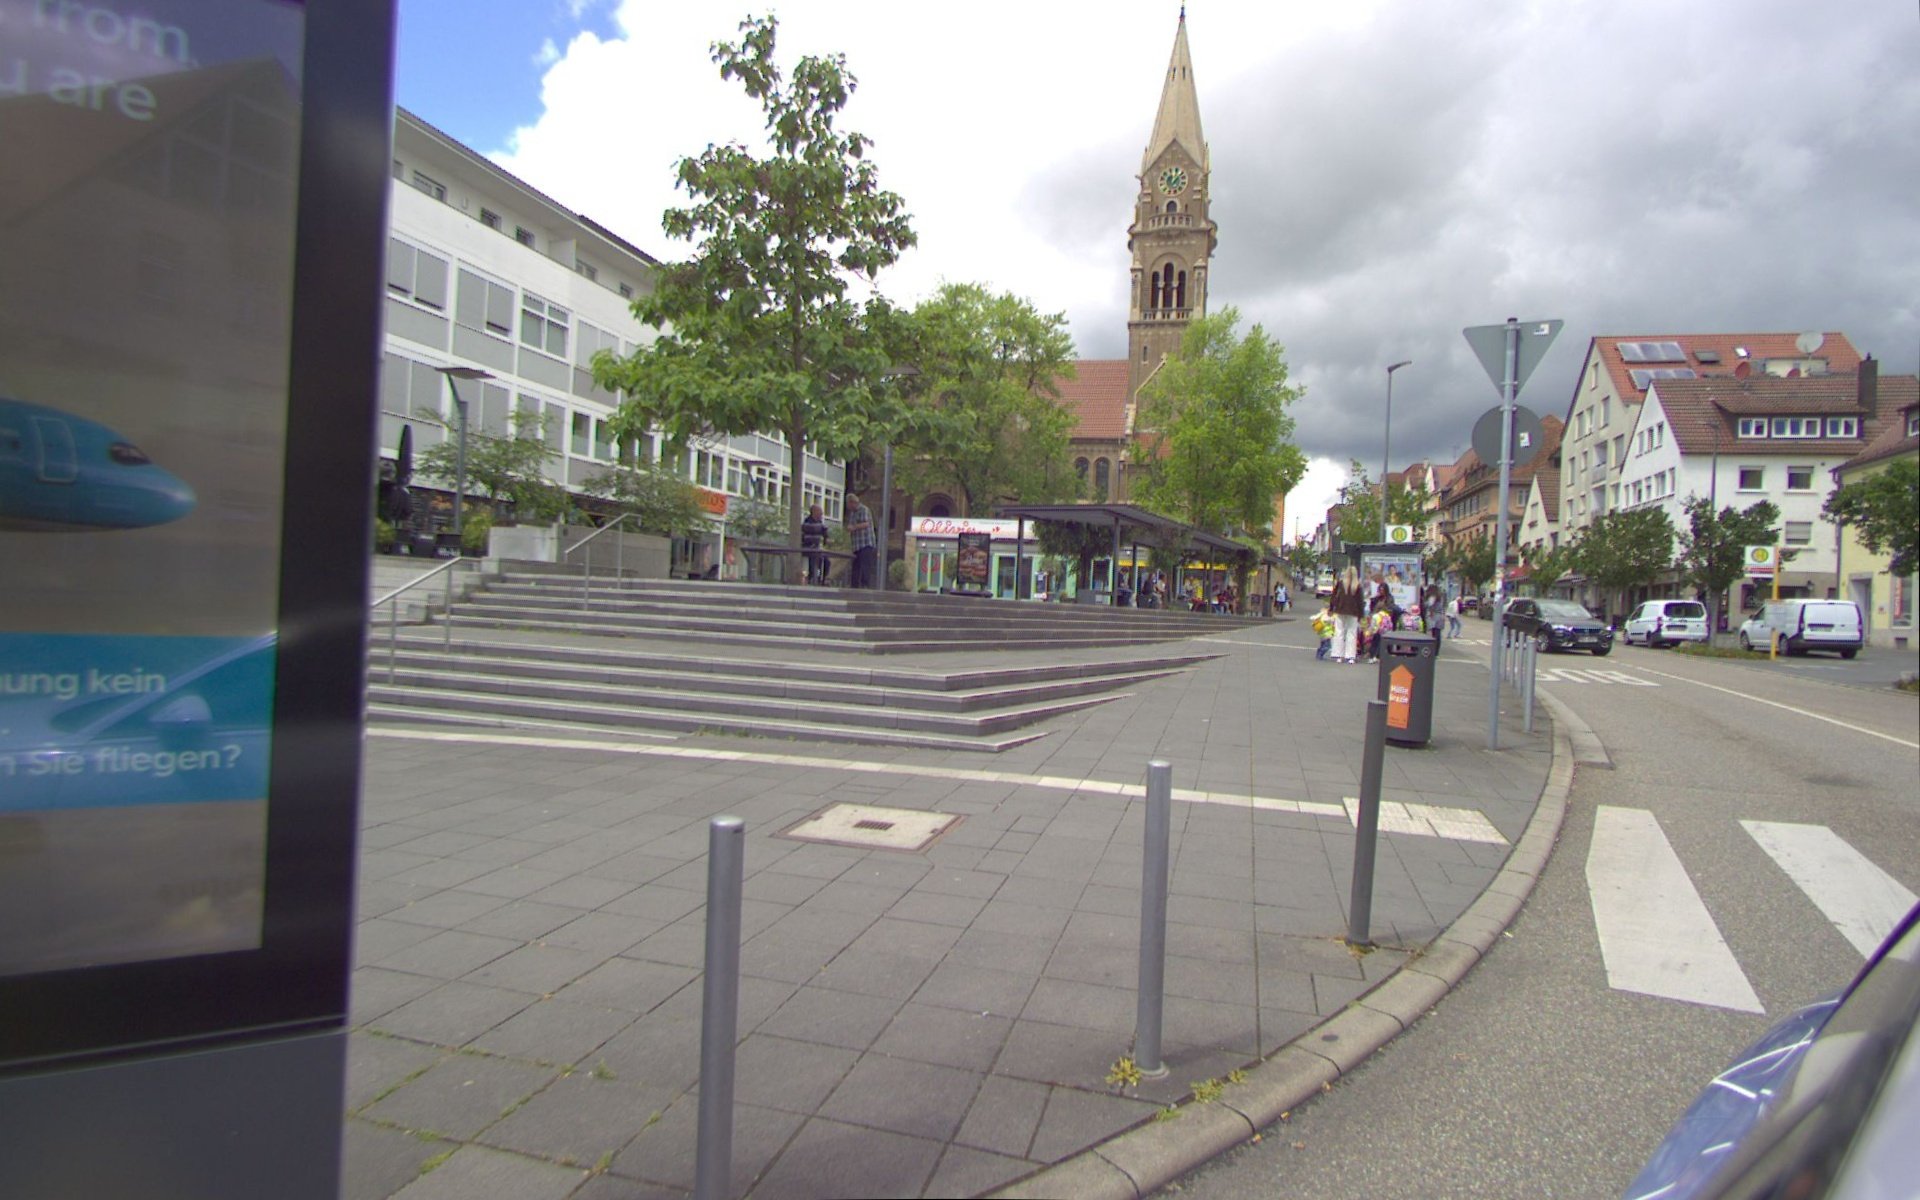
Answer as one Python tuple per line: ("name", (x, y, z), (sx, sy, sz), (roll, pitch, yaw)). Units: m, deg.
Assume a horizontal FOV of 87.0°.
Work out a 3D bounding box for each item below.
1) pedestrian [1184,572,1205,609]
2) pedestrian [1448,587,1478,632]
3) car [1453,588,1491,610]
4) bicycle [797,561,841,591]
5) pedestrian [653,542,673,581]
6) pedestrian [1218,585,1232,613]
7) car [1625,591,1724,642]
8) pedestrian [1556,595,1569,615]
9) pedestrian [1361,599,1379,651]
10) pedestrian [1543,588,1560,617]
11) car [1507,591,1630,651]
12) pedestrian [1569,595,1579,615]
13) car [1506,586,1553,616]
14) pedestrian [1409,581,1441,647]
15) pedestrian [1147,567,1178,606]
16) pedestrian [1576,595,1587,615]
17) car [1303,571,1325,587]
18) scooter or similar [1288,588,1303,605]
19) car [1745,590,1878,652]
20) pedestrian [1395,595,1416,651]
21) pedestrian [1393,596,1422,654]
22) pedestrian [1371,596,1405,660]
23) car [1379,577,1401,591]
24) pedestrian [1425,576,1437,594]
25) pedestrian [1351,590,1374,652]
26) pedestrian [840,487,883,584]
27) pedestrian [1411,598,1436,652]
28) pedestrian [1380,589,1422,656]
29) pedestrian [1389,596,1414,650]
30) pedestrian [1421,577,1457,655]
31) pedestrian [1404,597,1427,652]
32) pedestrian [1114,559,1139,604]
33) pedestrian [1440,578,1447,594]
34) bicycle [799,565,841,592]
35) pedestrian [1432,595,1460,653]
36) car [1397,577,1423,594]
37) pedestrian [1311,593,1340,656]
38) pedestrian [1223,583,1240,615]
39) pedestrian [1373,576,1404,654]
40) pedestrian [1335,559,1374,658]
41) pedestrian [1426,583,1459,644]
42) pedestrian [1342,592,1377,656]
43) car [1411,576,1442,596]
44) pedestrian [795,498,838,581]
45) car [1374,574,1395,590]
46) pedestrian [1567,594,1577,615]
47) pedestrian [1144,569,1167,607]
("pedestrian", (8.799, -0.350, 37.927), (0.619, 1.324, 0.541), (3, 1, 26))
("pedestrian", (19.286, 0.355, 38.782), (0.700, 1.703, 0.688), (2, 1, -29))
("car", (37.748, -0.118, 74.702), (1.640, 1.409, 4.421), (2, 3, 17))
("bicycle", (-6.911, -1.170, 49.613), (1.985, 1.324, 0.689), (4, 0, -11))
("pedestrian", (-10.527, -1.357, 35.925), (0.558, 1.340, 0.546), (1, 0, -4))
("pedestrian", (10.855, -0.033, 41.458), (0.473, 1.103, 0.365), (3, -1, 26))
("car", (25.680, 0.544, 36.526), (1.640, 1.693, 4.326), (1, 1, 18))
("pedestrian", (39.351, 0.324, 66.129), (0.544, 1.283, 0.596), (1, 2, 17))
("pedestrian", (8.812, 0.539, 21.753), (0.249, 1.082, 0.249), (4, 2, 32))
("pedestrian", (36.529, 0.153, 62.512), (0.653, 1.782, 0.774), (2, 3, 17))
("car", (18.361, 0.585, 30.754), (1.864, 1.543, 3.728), (0, 3, 9))
("pedestrian", (39.968, 0.314, 65.897), (0.391, 1.265, 0.497), (1, 1, 17))
("car", (33.488, 0.009, 59.621), (1.649, 1.667, 4.109), (1, 1, 18))
("pedestrian", (11.447, 0.329, 24.919), (0.492, 1.585, 0.497), (3, 1, 4))
("pedestrian", (6.811, -0.471, 34.041), (0.663, 1.285, 0.771), (1, 0, -32))
("pedestrian", (39.676, 0.329, 64.601), (0.422, 1.265, 0.564), (1, 1, 16))
("car", (38.866, -2.291, 111.153), (1.792, 1.465, 3.929), (5, 4, 15))
("scooter or similar", (22.831, -0.259, 68.824), (0.807, 1.085, 0.555), (4, 3, 28))
("car", (27.327, 0.597, 32.674), (1.739, 1.836, 4.449), (1, 1, 19))
("pedestrian", (9.697, 0.507, 22.031), (0.247, 1.188, 0.252), (3, 1, -20))
("pedestrian", (9.447, 0.516, 21.354), (0.329, 1.180, 0.352), (3, 3, -10))
("pedestrian", (8.261, 0.537, 19.548), (0.469, 1.186, 0.389), (4, 2, 13))
("car", (47.243, -1.774, 111.194), (1.709, 1.448, 3.487), (2, 3, 16))
("pedestrian", (46.138, -1.457, 99.107), (0.860, 1.686, 0.903), (2, 3, 14))
("pedestrian", (8.306, 0.428, 20.888), (0.321, 1.253, 0.331), (5, 2, 25))
("pedestrian", (-1.594, -1.037, 16.337), (0.449, 1.527, 0.500), (3, 0, 24))
("pedestrian", (10.215, 0.544, 22.307), (0.287, 1.166, 0.299), (3, 1, -23))
("pedestrian", (9.136, 0.452, 20.986), (0.424, 1.319, 0.601), (3, 2, -12))
("pedestrian", (9.802, 0.506, 22.468), (0.312, 1.166, 0.322), (3, 1, -18))
("pedestrian", (10.413, 0.345, 21.995), (0.459, 1.639, 0.389), (3, 1, -20))
("pedestrian", (9.959, 0.524, 22.141), (0.259, 1.175, 0.272), (3, 1, -19))
("pedestrian", (5.076, -0.550, 30.781), (0.565, 1.340, 0.539), (2, 0, 31))
("pedestrian", (46.579, -1.362, 97.521), (0.490, 1.495, 0.526), (2, 2, 14))
("bicycle", (-7.046, -1.082, 51.062), (1.985, 1.156, 0.689), (5, 0, -11))
("pedestrian", (10.769, 0.523, 22.435), (0.403, 1.241, 0.382), (4, 1, 44))
("car", (43.622, -1.450, 98.147), (1.645, 1.544, 3.948), (0, 3, 14))
("pedestrian", (7.048, 0.466, 19.533), (0.435, 1.162, 0.381), (4, 1, 19))
("pedestrian", (11.235, -0.057, 41.870), (0.564, 1.278, 0.536), (3, -1, 26))
("pedestrian", (8.574, 0.293, 20.253), (0.384, 1.536, 0.389), (4, 1, 6))
("pedestrian", (7.533, 0.152, 19.337), (0.534, 1.845, 0.433), (4, 2, 18))
("pedestrian", (12.758, 0.341, 26.759), (0.476, 1.568, 0.545), (2, 1, -24))
("pedestrian", (7.857, 0.468, 19.918), (0.502, 1.213, 0.390), (2, 2, -43))
("car", (41.916, -1.266, 91.017), (1.705, 1.592, 4.438), (2, 3, 14))
("pedestrian", (-2.336, -0.979, 16.498), (0.360, 1.301, 0.635), (3, 0, 26))
("car", (49.622, -2.166, 118.287), (1.709, 1.700, 3.974), (2, 3, 16))
("pedestrian", (39.170, 0.291, 64.771), (0.416, 1.316, 0.452), (1, 1, 17))
("pedestrian", (6.437, -0.402, 33.344), (0.565, 1.243, 0.560), (2, 0, 31))
